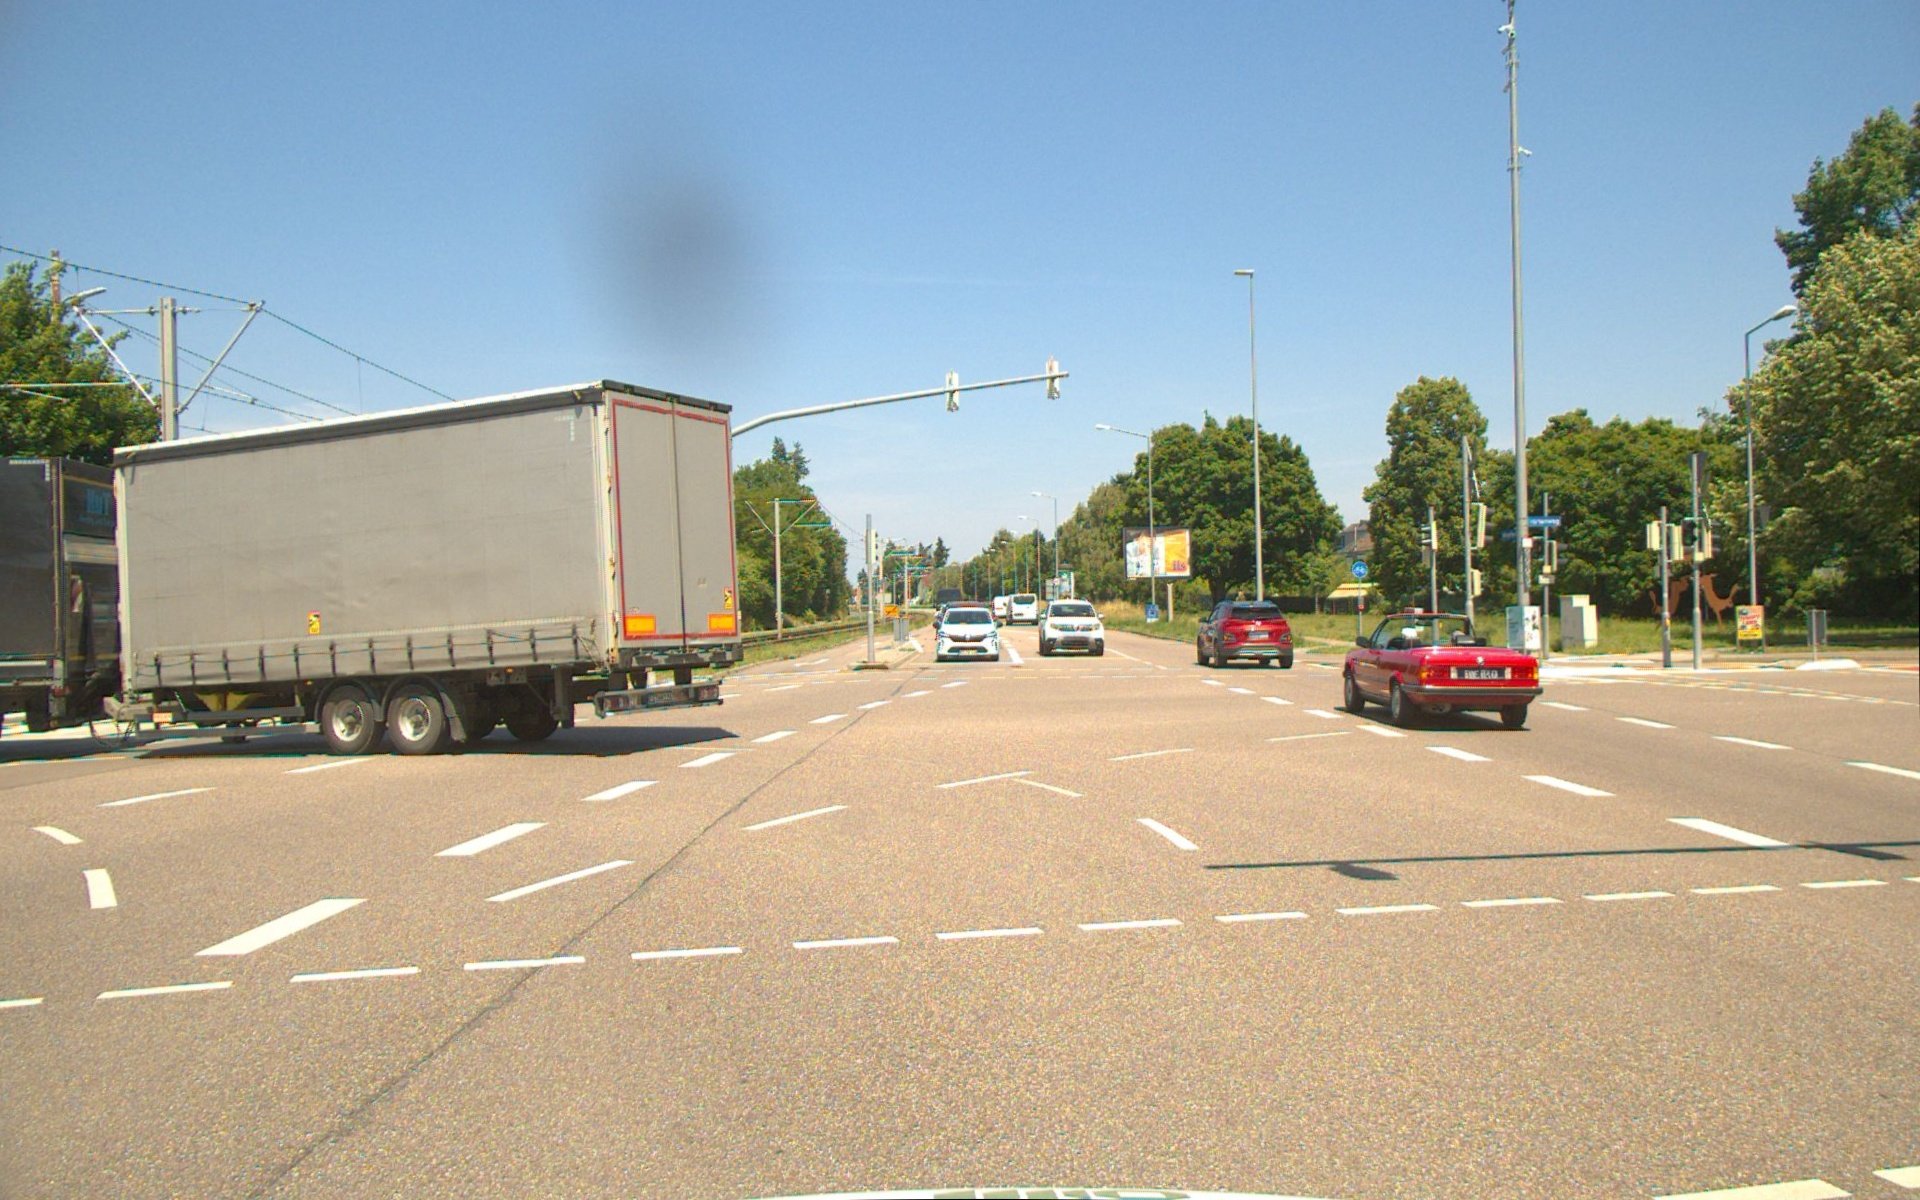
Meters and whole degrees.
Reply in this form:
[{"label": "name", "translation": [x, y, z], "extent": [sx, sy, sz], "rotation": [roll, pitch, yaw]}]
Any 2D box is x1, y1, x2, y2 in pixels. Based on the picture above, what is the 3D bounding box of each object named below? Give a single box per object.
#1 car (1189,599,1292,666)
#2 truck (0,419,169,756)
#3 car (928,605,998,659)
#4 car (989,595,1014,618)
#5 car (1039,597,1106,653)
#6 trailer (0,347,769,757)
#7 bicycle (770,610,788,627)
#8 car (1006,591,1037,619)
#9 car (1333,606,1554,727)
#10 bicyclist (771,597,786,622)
[{"label": "car", "translation": [6.718, 0.733, 39.999], "extent": [1.805, 1.485, 4.413], "rotation": [-1, 0, 1]}, {"label": "truck", "translation": [-15.046, 0.010, 21.608], "extent": [7.782, 4.141, 3.082], "rotation": [-2, -1, -7]}, {"label": "car", "translation": [0.132, 0.845, 46.151], "extent": [1.830, 1.413, 4.413], "rotation": [-1, 0, 1]}, {"label": "car", "translation": [3.263, 0.492, 130.715], "extent": [1.731, 1.786, 3.999], "rotation": [1, 0, -1]}, {"label": "car", "translation": [3.358, 0.727, 50.219], "extent": [1.830, 1.604, 4.413], "rotation": [0, 0, 1]}, {"label": "trailer", "translation": [-7.285, -0.306, 20.110], "extent": [9.581, 4.141, 3.085], "rotation": [-2, -1, 25]}, {"label": "bicycle", "translation": [-15.113, 1.540, 138.097], "extent": [1.039, 1.369, 2.696], "rotation": [-4, 0, 0]}, {"label": "car", "translation": [3.973, 0.330, 107.291], "extent": [1.731, 1.786, 3.999], "rotation": [1, 0, -1]}, {"label": "car", "translation": [6.158, 0.788, 21.554], "extent": [1.724, 1.372, 4.313], "rotation": [0, 0, 2]}, {"label": "bicyclist", "translation": [-15.152, 0.788, 138.094], "extent": [1.049, 2.048, 1.185], "rotation": [-4, -1, 0]}]
